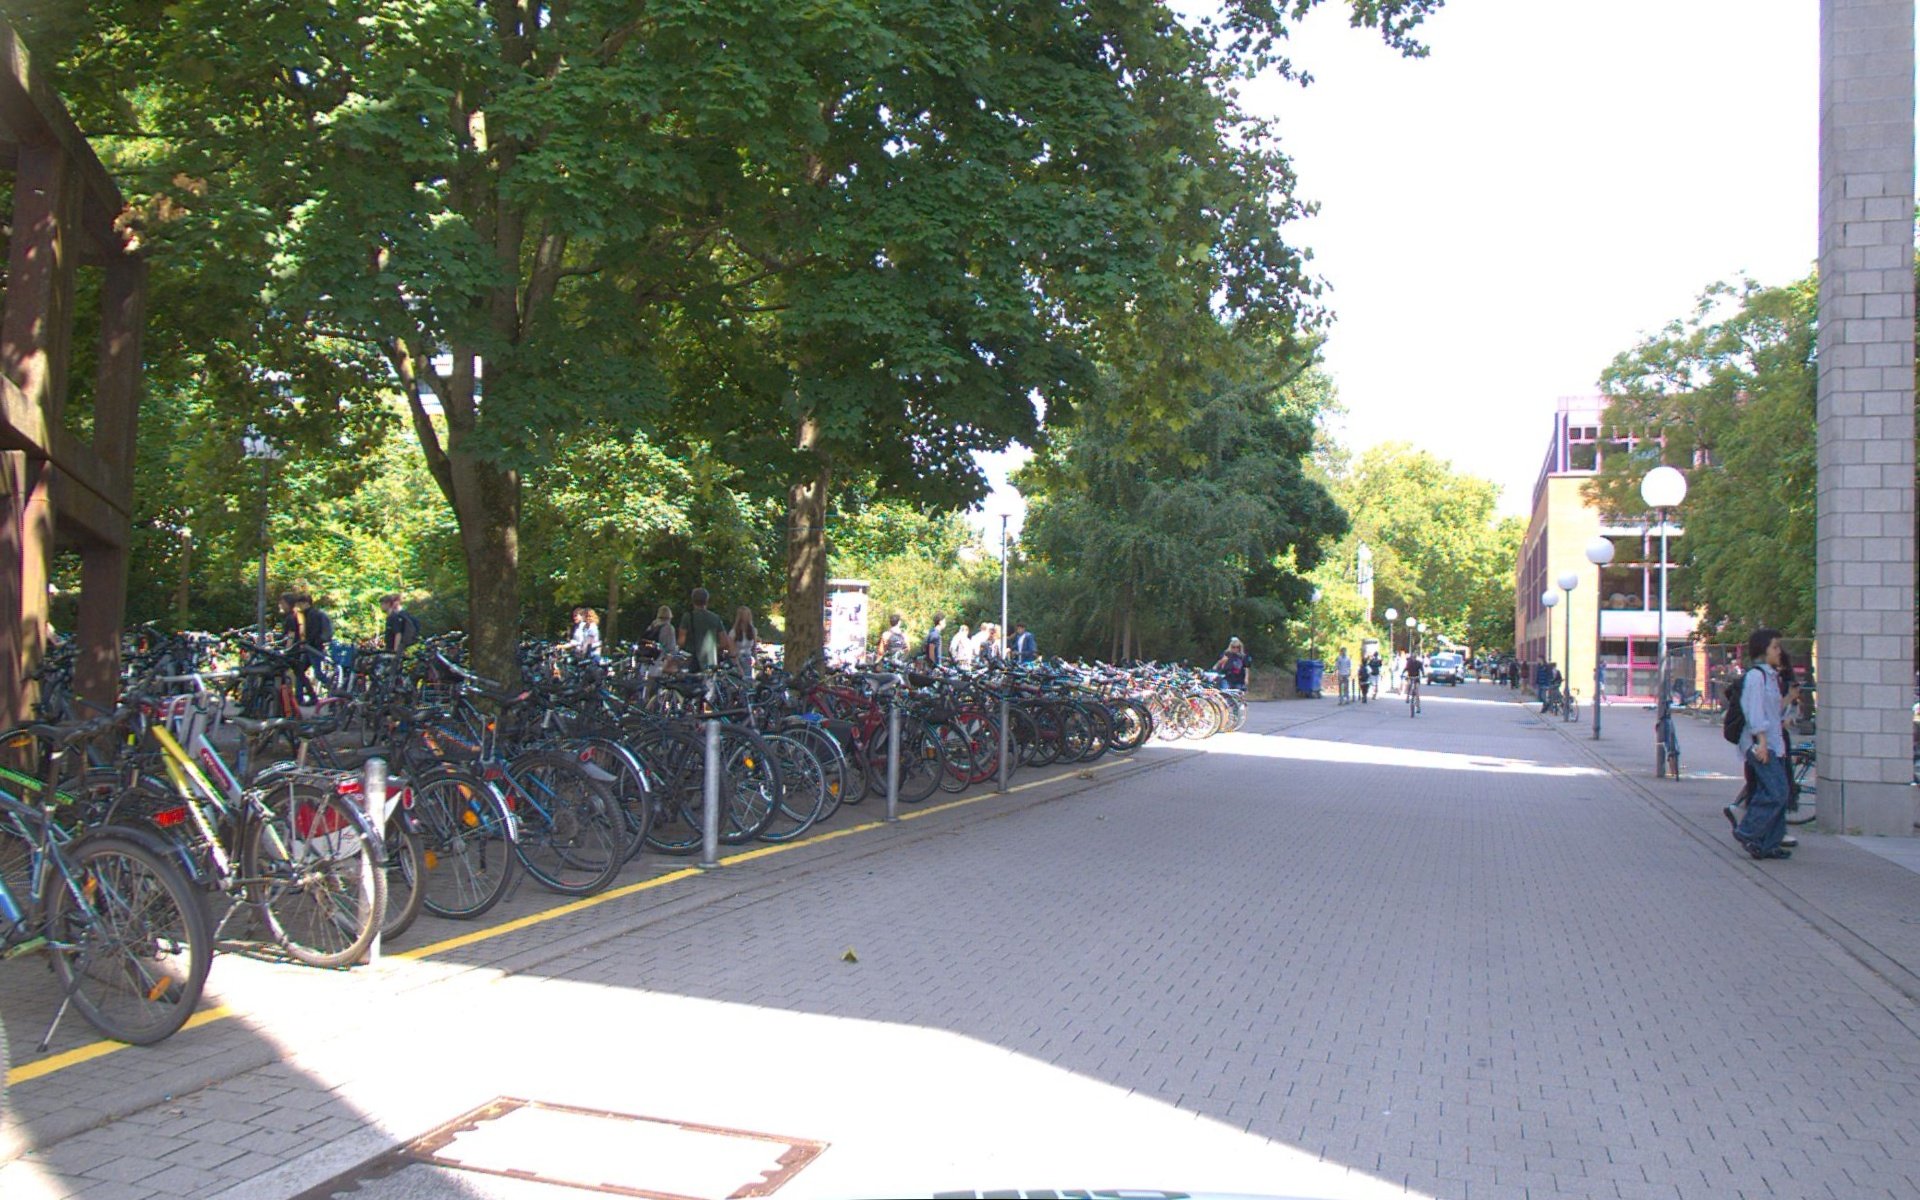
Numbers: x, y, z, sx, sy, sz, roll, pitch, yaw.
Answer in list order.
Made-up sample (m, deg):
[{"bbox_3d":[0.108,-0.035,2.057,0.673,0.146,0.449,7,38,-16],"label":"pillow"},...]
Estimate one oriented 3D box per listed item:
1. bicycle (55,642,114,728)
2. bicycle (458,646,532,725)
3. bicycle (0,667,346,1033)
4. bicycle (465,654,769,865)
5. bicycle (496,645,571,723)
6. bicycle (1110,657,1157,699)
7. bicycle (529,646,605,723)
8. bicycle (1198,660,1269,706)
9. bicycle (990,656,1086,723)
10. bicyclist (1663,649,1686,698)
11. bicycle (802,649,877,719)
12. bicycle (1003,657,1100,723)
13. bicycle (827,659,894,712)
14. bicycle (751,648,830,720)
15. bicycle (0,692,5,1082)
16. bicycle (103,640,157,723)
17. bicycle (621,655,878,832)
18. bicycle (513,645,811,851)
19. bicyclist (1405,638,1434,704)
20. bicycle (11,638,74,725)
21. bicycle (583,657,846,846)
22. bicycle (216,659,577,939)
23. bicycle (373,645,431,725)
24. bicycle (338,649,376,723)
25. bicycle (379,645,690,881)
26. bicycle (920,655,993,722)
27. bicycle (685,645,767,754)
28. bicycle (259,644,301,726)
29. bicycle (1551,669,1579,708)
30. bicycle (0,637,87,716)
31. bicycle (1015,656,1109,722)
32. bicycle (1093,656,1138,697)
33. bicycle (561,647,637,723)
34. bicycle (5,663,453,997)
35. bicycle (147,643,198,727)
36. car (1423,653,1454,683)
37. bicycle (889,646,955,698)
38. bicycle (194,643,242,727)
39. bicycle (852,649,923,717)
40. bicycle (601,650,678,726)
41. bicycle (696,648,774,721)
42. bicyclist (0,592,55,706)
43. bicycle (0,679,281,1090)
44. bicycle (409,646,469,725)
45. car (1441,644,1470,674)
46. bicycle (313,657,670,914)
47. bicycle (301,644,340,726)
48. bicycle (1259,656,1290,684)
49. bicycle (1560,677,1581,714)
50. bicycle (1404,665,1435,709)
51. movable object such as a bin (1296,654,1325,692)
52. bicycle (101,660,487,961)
[{"bbox_3d":[-11.903,1.143,22.509,0.466,1.102,1.689,2,-2,-21],"label":"bicycle"},{"bbox_3d":[-6.972,1.266,24.753,0.469,1.102,1.677,3,-2,-37],"label":"bicycle"},{"bbox_3d":[-3.011,0.832,5.901,1.591,1.127,0.497,1,-2,23],"label":"bicycle"},{"bbox_3d":[-2.003,0.909,9.731,1.590,1.127,0.645,1,-2,13],"label":"bicycle"},{"bbox_3d":[-6.466,1.253,25.013,0.469,1.102,1.677,3,-2,-37],"label":"bicycle"},{"bbox_3d":[4.772,2.138,45.586,0.466,1.065,1.688,4,-1,-23],"label":"bicycle"},{"bbox_3d":[-5.997,1.266,25.195,0.469,1.102,1.677,3,-2,-37],"label":"bicycle"},{"bbox_3d":[6.961,2.121,42.070,1.816,1.130,0.470,2,-2,-26],"label":"bicycle"},{"bbox_3d":[1.375,1.573,29.320,1.663,1.102,0.473,1,-2,31],"label":"bicycle"},{"bbox_3d":[26.018,2.660,60.221,0.652,1.746,0.587,0,-2,35],"label":"bicyclist"},{"bbox_3d":[-2.037,1.394,27.788,0.468,1.102,1.679,3,-2,-34],"label":"bicycle"},{"bbox_3d":[1.640,1.610,29.765,1.686,1.102,0.473,1,-2,31],"label":"bicycle"},{"bbox_3d":[-2.258,1.914,37.292,0.470,1.130,1.750,3,-2,-43],"label":"bicycle"},{"bbox_3d":[-2.793,1.367,27.087,0.469,1.102,1.677,3,-2,-37],"label":"bicycle"},{"bbox_3d":[-3.584,0.828,4.981,1.594,1.127,0.496,0,0,30],"label":"bicycle"},{"bbox_3d":[-11.647,1.124,23.230,0.466,1.102,1.689,2,-2,-21],"label":"bicycle"},{"bbox_3d":[-1.505,0.986,11.766,1.688,1.127,0.718,1,-2,29],"label":"bicycle"},{"bbox_3d":[-1.860,0.899,10.353,1.741,1.182,0.497,1,-2,13],"label":"bicycle"},{"bbox_3d":[12.476,1.925,44.914,0.755,1.746,0.911,0,-3,15],"label":"bicyclist"},{"bbox_3d":[-12.347,1.083,22.282,0.466,1.102,1.689,2,-2,-21],"label":"bicycle"},{"bbox_3d":[-1.597,0.964,10.787,1.590,1.127,0.497,1,-2,13],"label":"bicycle"},{"bbox_3d":[-2.571,0.859,7.525,1.591,1.127,0.497,1,-2,23],"label":"bicycle"},{"bbox_3d":[-8.188,1.237,24.240,0.467,1.102,1.683,3,-2,-29],"label":"bicycle"},{"bbox_3d":[-8.617,1.211,23.627,0.444,0.979,1.729,2,-2,-21],"label":"bicycle"},{"bbox_3d":[-2.323,0.854,9.028,1.590,1.171,0.497,1,-2,18],"label":"bicycle"},{"bbox_3d":[-0.075,1.544,28.995,0.468,1.102,1.682,3,-2,-30],"label":"bicycle"},{"bbox_3d":[-2.836,1.175,19.899,0.566,1.221,1.688,2,-2,-22],"label":"bicycle"},{"bbox_3d":[-9.666,1.188,23.541,0.466,1.102,1.689,2,-2,-21],"label":"bicycle"},{"bbox_3d":[18.559,2.709,50.770,0.693,1.112,1.749,1,-2,17],"label":"bicycle"},{"bbox_3d":[-13.461,1.085,23.611,1.671,1.102,0.600,2,-2,-24],"label":"bicycle"},{"bbox_3d":[1.856,1.610,30.217,1.663,1.130,0.473,1,-2,30],"label":"bicycle"},{"bbox_3d":[4.257,2.083,45.244,0.466,1.065,1.687,2,-2,-23],"label":"bicycle"},{"bbox_3d":[-5.560,1.294,25.413,0.469,1.102,1.677,3,-2,-37],"label":"bicycle"},{"bbox_3d":[-2.845,0.833,6.440,1.591,1.127,0.629,1,-2,22],"label":"bicycle"},{"bbox_3d":[-10.928,1.165,22.966,0.466,1.102,1.689,2,-2,-21],"label":"bicycle"},{"bbox_3d":[29.737,4.185,102.631,1.752,1.793,4.483,0,-1,17],"label":"car"},{"bbox_3d":[-0.892,1.676,38.687,0.470,1.130,1.750,3,-2,-43],"label":"bicycle"},{"bbox_3d":[-10.370,1.169,23.144,0.466,1.102,1.689,2,-2,-21],"label":"bicycle"},{"bbox_3d":[-1.253,1.406,28.316,0.468,1.102,1.682,3,-2,-30],"label":"bicycle"},{"bbox_3d":[-4.991,1.349,25.699,0.469,1.102,1.677,3,-2,-37],"label":"bicycle"},{"bbox_3d":[-3.638,1.344,26.661,0.469,1.102,1.677,3,-2,-37],"label":"bicycle"},{"bbox_3d":[-13.417,0.702,23.645,0.709,1.596,0.591,2,-2,-23],"label":"bicyclist"},{"bbox_3d":[-2.992,0.837,5.295,1.591,1.127,0.497,1,-2,23],"label":"bicycle"},{"bbox_3d":[-7.710,1.248,24.444,0.467,1.102,1.683,3,-2,-29],"label":"bicycle"},{"bbox_3d":[34.331,4.082,114.544,1.844,2.009,5.216,1,-1,17],"label":"car"},{"bbox_3d":[-2.320,0.870,8.202,1.591,1.127,0.690,1,-2,23],"label":"bicycle"},{"bbox_3d":[-9.067,1.190,23.455,0.466,1.102,1.689,2,-2,-21],"label":"bicycle"},{"bbox_3d":[10.851,2.420,57.014,0.414,0.926,1.735,0,-3,32],"label":"bicycle"},{"bbox_3d":[16.541,2.571,44.828,0.387,0.952,1.733,-2,-2,17],"label":"bicycle"},{"bbox_3d":[12.473,2.354,44.927,0.755,1.171,2.109,0,-3,15],"label":"bicycle"},{"bbox_3d":[12.980,2.697,61.250,0.696,1.359,1.237,3,-1,28],"label":"movable object such as a bin"},{"bbox_3d":[-2.840,0.844,7.037,1.591,1.127,0.506,1,-2,23],"label":"bicycle"}]
